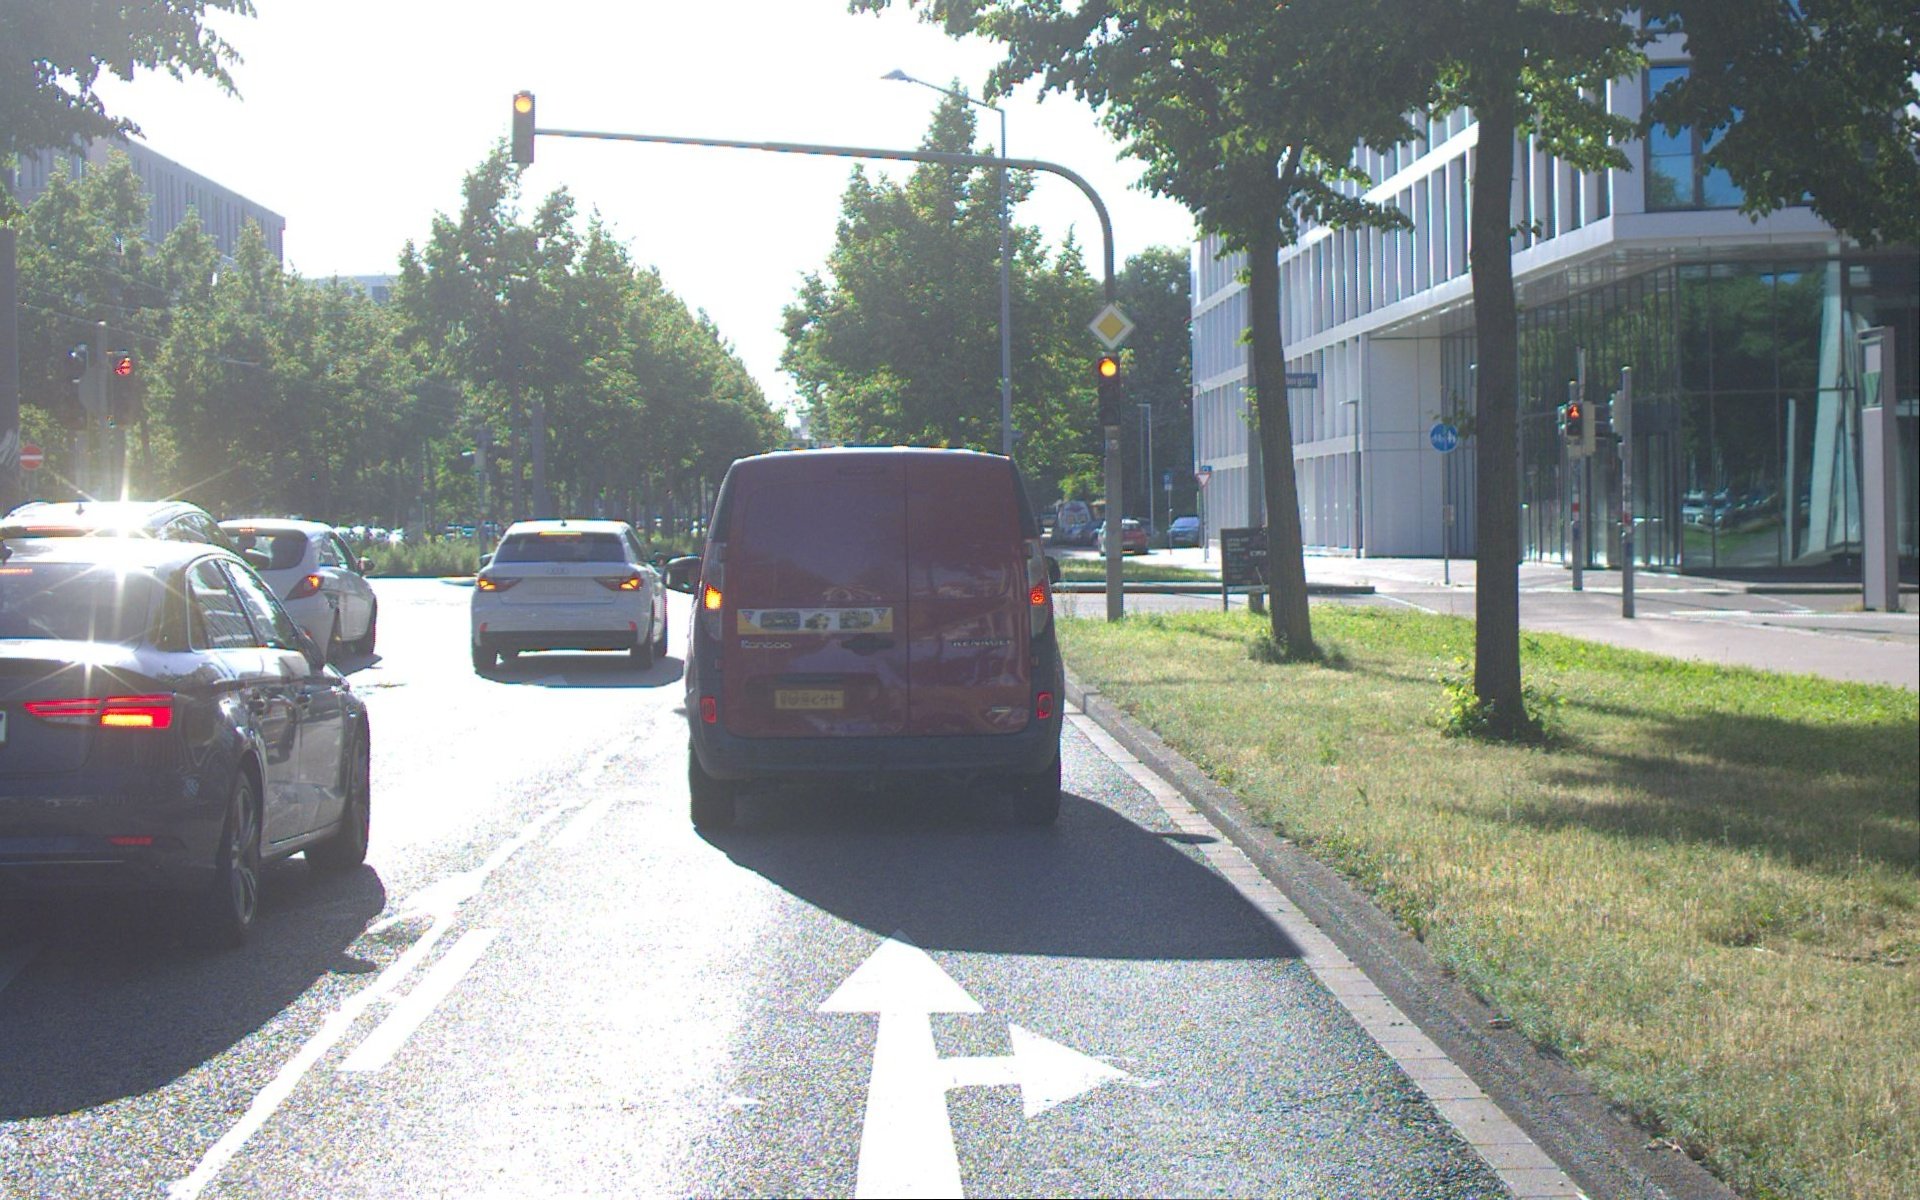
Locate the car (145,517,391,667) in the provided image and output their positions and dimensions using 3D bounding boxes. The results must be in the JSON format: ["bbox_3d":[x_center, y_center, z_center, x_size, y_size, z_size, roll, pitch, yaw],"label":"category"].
[{"bbox_3d":[-6.892,-0.122,34.593,1.715,1.393,4.001,-1,2,-1],"label":"car"}]

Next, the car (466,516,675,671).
[{"bbox_3d":[-3.806,-0.106,34.135,1.721,1.420,3.817,-1,2,-2],"label":"car"}]

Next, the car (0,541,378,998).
[{"bbox_3d":[-3.342,0.498,12.736,1.721,1.361,4.146,-1,2,-1],"label":"car"}]

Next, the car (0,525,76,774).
[{"bbox_3d":[-6.548,0.294,20.027,1.942,1.436,4.001,-1,1,-3],"label":"car"}]

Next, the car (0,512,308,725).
[{"bbox_3d":[-6.418,0.086,26.967,1.843,1.529,3.940,-1,1,0],"label":"car"}]

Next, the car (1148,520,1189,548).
[{"bbox_3d":[10.230,-3.253,168.991,1.563,1.363,3.334,-1,1,-4],"label":"car"}]

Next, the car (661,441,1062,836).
[{"bbox_3d":[-0.424,0.152,17.501,1.797,1.771,4.000,0,1,1],"label":"car"}]
